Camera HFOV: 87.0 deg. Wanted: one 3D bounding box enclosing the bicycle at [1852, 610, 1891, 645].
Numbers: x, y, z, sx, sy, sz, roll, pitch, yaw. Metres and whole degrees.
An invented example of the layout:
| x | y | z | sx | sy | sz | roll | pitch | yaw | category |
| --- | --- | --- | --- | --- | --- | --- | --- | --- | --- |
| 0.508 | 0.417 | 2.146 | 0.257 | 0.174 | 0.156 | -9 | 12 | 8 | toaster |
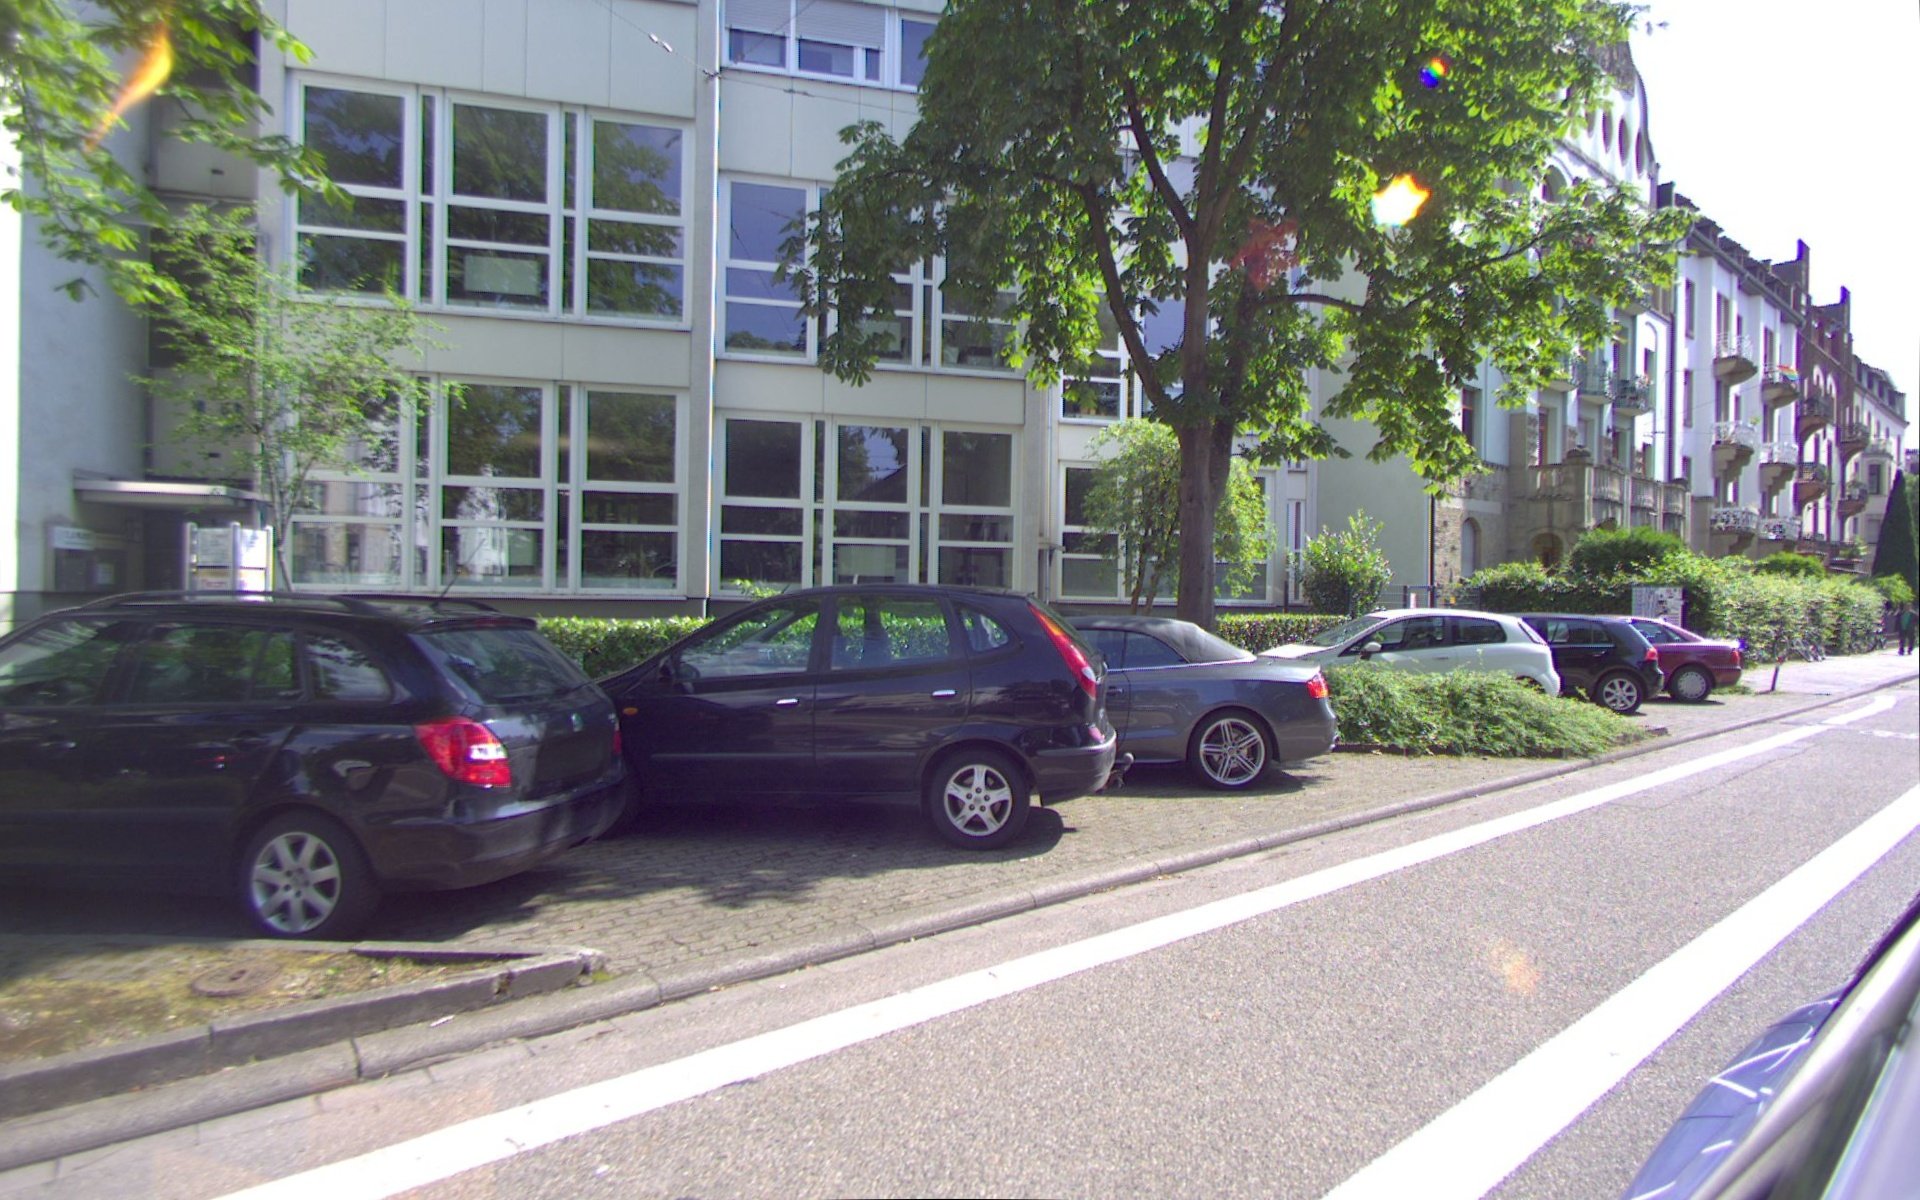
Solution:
| x | y | z | sx | sy | sz | roll | pitch | yaw | category |
| --- | --- | --- | --- | --- | --- | --- | --- | --- | --- |
| 27.994 | 0.838 | 31.078 | 1.839 | 1.001 | 0.614 | 0 | 3 | -40 | bicycle |

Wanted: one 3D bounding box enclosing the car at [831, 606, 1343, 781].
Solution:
| x | y | z | sx | sy | sz | roll | pitch | yaw | category |
| --- | --- | --- | --- | --- | --- | --- | --- | --- | --- |
| 1.055 | 0.739 | 9.133 | 4.103 | 1.366 | 1.902 | 0 | 0 | 6 | car |

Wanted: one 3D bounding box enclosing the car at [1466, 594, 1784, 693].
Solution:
| x | y | z | sx | sy | sz | roll | pitch | yaw | category |
| --- | --- | --- | --- | --- | --- | --- | --- | --- | --- |
| 11.196 | 0.691 | 17.332 | 4.091 | 1.441 | 1.863 | 1 | 1 | 9 | car |

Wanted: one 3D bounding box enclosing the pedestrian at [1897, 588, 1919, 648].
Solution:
| x | y | z | sx | sy | sz | roll | pitch | yaw | category |
| --- | --- | --- | --- | --- | --- | --- | --- | --- | --- |
| 30.890 | 0.593 | 32.686 | 0.788 | 1.884 | 0.571 | 5 | 3 | 44 | pedestrian |

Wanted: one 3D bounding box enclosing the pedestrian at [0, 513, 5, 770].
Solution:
| x | y | z | sx | sy | sz | roll | pitch | yaw | category |
| --- | --- | --- | --- | --- | --- | --- | --- | --- | --- |
| -7.327 | 0.311 | 6.950 | 0.983 | 1.897 | 0.763 | 1 | 0 | -34 | pedestrian |

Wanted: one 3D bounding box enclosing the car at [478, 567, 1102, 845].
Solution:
| x | y | z | sx | sy | sz | roll | pitch | yaw | category |
| --- | --- | --- | --- | --- | --- | --- | --- | --- | --- |
| -0.995 | 0.618 | 7.083 | 3.934 | 1.595 | 1.900 | 0 | -1 | 9 | car |

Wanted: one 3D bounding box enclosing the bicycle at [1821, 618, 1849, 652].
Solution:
| x | y | z | sx | sy | sz | roll | pitch | yaw | category |
| --- | --- | --- | --- | --- | --- | --- | --- | --- | --- |
| 24.521 | 0.988 | 28.339 | 1.638 | 0.918 | 0.274 | 2 | 3 | -40 | bicycle |

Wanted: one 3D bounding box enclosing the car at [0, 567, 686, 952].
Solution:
| x | y | z | sx | sy | sz | roll | pitch | yaw | category |
| --- | --- | --- | --- | --- | --- | --- | --- | --- | --- |
| -3.648 | 0.619 | 5.096 | 4.005 | 1.462 | 1.722 | 1 | -1 | 7 | car |

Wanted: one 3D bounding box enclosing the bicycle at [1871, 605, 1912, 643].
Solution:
| x | y | z | sx | sy | sz | roll | pitch | yaw | category |
| --- | --- | --- | --- | --- | --- | --- | --- | --- | --- |
| 32.234 | 0.796 | 35.001 | 2.472 | 1.246 | 0.742 | 0 | 1 | -41 | bicycle |

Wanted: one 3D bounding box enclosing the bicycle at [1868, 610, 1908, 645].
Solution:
| x | y | z | sx | sy | sz | roll | pitch | yaw | category |
| --- | --- | --- | --- | --- | --- | --- | --- | --- | --- |
| 29.842 | 0.861 | 32.539 | 2.321 | 1.008 | 0.612 | 0 | 4 | -40 | bicycle |

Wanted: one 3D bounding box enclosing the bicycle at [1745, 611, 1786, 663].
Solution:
| x | y | z | sx | sy | sz | roll | pitch | yaw | category |
| --- | --- | --- | --- | --- | --- | --- | --- | --- | --- |
| 18.627 | 0.837 | 23.381 | 1.975 | 1.122 | 0.280 | 0 | 4 | -40 | bicycle |

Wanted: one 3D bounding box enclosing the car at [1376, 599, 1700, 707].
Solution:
| x | y | z | sx | sy | sz | roll | pitch | yaw | category |
| --- | --- | --- | --- | --- | --- | --- | --- | --- | --- |
| 8.669 | 0.753 | 15.500 | 3.933 | 1.467 | 1.695 | 1 | 0 | 9 | car |

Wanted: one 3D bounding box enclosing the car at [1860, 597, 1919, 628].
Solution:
| x | y | z | sx | sy | sz | roll | pitch | yaw | category |
| --- | --- | --- | --- | --- | --- | --- | --- | --- | --- |
| 52.728 | 0.730 | 56.442 | 1.935 | 1.542 | 3.412 | 1 | 3 | -37 | car |

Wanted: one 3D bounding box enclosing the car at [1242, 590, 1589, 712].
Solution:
| x | y | z | sx | sy | sz | roll | pitch | yaw | category |
| --- | --- | --- | --- | --- | --- | --- | --- | --- | --- |
| 5.949 | 0.627 | 13.573 | 3.930 | 1.479 | 1.533 | 1 | 0 | 6 | car |

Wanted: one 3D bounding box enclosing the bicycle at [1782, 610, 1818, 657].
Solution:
| x | y | z | sx | sy | sz | roll | pitch | yaw | category |
| --- | --- | --- | --- | --- | --- | --- | --- | --- | --- |
| 21.263 | 0.830 | 25.616 | 1.975 | 1.122 | 0.280 | 0 | 4 | -40 | bicycle |

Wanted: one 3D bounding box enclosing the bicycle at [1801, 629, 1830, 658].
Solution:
| x | y | z | sx | sy | sz | roll | pitch | yaw | category |
| --- | --- | --- | --- | --- | --- | --- | --- | --- | --- |
| 22.687 | 1.148 | 26.835 | 1.531 | 0.685 | 0.280 | 0 | 4 | -40 | bicycle |
